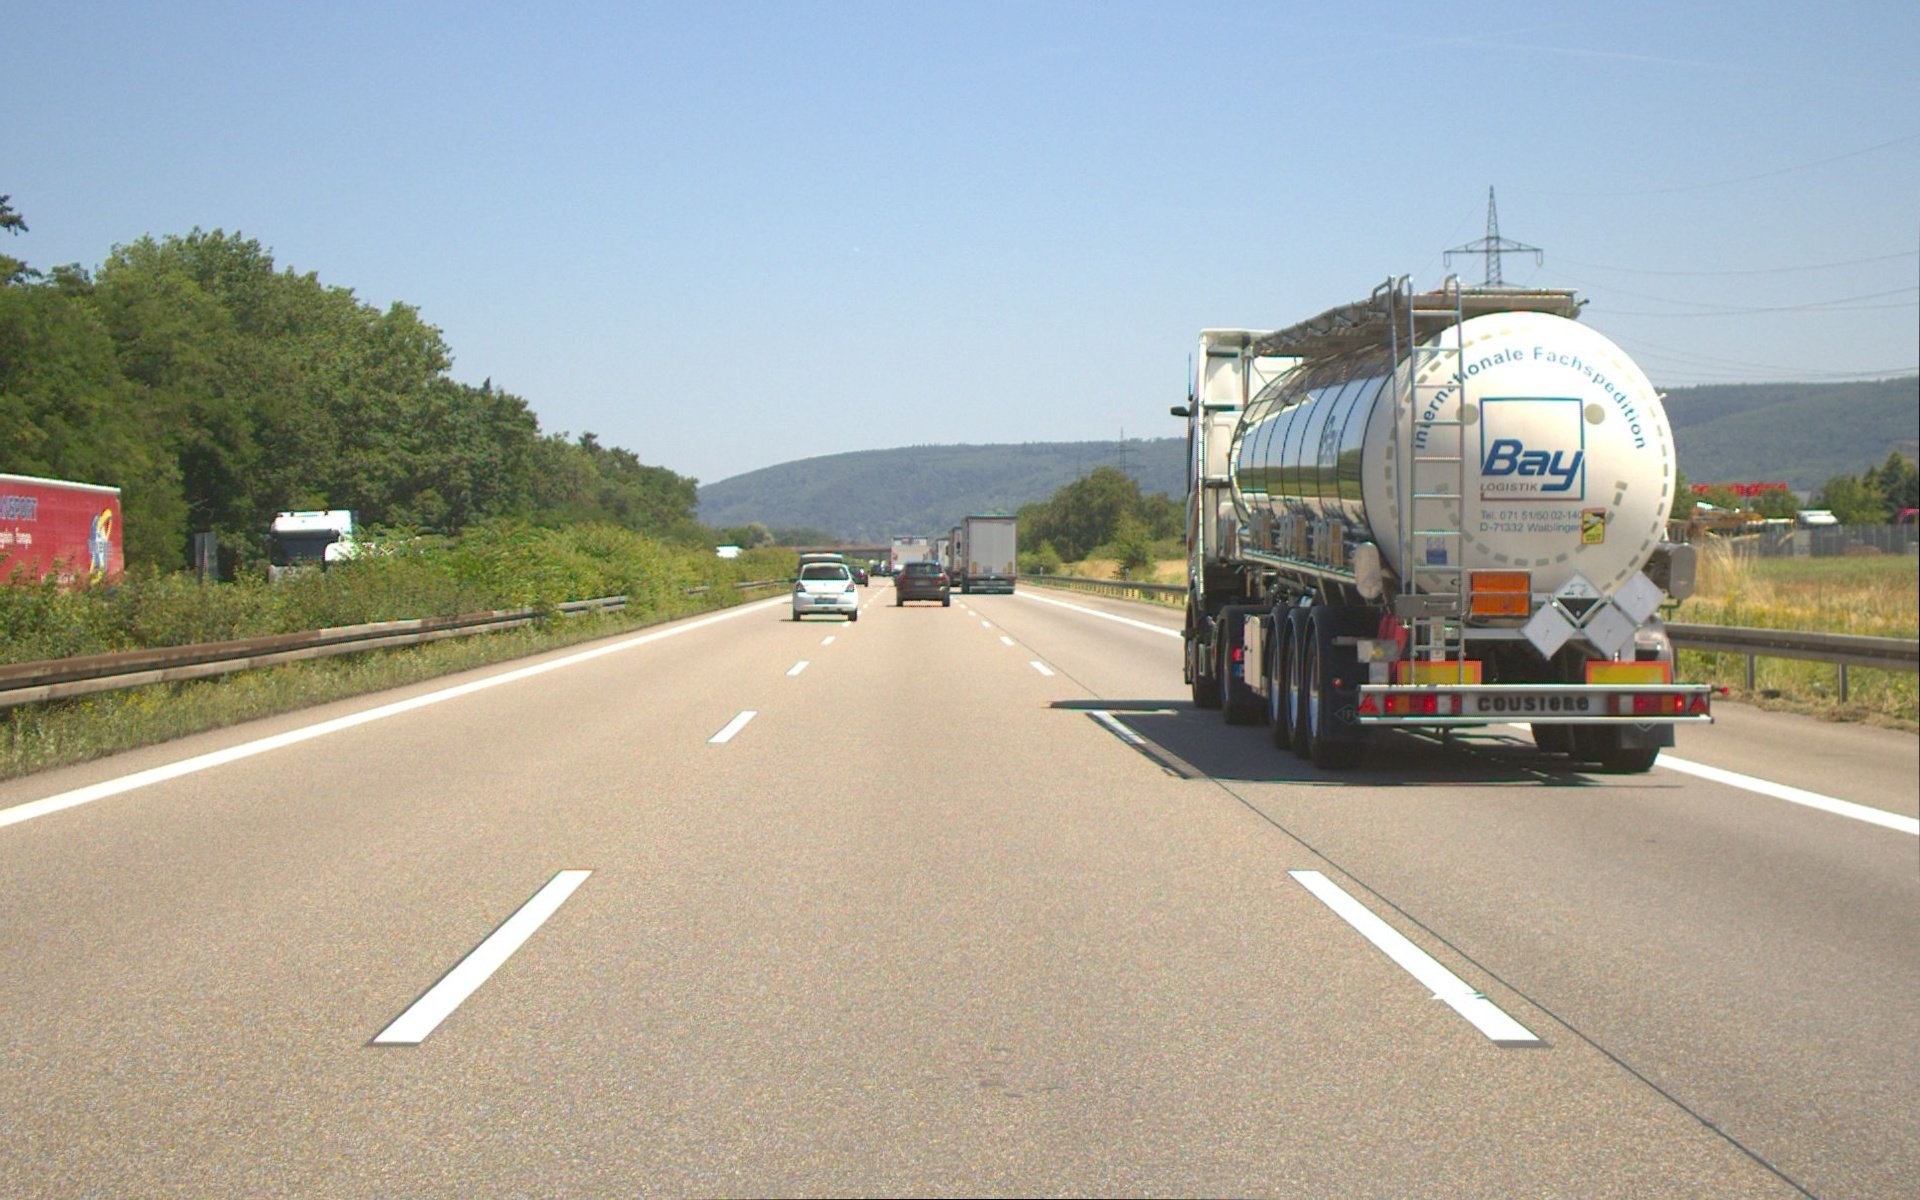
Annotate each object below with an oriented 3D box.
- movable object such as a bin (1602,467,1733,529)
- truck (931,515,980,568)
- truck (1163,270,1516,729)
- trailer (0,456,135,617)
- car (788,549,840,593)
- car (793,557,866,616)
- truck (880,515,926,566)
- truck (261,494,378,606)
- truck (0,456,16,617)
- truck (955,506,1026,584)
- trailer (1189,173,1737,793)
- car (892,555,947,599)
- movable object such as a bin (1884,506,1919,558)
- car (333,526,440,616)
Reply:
[{"bbox_3d":[47.174,-6.793,229.320,8.188,3.719,3.336,-2,1,7],"label":"movable object such as a bin"},{"bbox_3d":[-0.362,-4.031,237.231,3.097,3.462,11.543,1,1,-1],"label":"truck"},{"bbox_3d":[3.577,-0.951,33.904,2.573,4.058,6.393,1,1,-1],"label":"truck"},{"bbox_3d":[-21.693,-1.450,78.380,2.586,3.405,14.157,1,1,-1],"label":"trailer"},{"bbox_3d":[-5.564,-1.114,131.199,1.852,1.627,4.000,1,1,-1],"label":"car"},{"bbox_3d":[-3.429,-0.371,90.843,1.806,1.463,4.000,1,1,-1],"label":"car"},{"bbox_3d":[-4.036,-4.162,241.343,3.097,3.462,11.543,1,1,-1],"label":"truck"},{"bbox_3d":[-21.867,-1.710,117.682,2.591,3.693,6.827,1,1,1],"label":"truck"},{"bbox_3d":[-21.574,-1.341,71.368,2.598,3.410,5.117,1,1,-1],"label":"truck"},{"bbox_3d":[1.525,-2.876,179.476,3.265,3.844,11.632,1,1,-1],"label":"truck"},{"bbox_3d":[3.700,-0.862,28.302,2.580,4.060,11.104,1,1,-1],"label":"trailer"},{"bbox_3d":[-1.445,-0.836,122.372,1.885,1.510,4.000,1,1,-1],"label":"car"},{"bbox_3d":[52.581,-3.721,182.151,6.885,2.679,3.175,-2,1,14],"label":"movable object such as a bin"},{"bbox_3d":[-17.287,-0.915,103.935,2.302,2.393,6.520,1,3,-2],"label":"car"}]
